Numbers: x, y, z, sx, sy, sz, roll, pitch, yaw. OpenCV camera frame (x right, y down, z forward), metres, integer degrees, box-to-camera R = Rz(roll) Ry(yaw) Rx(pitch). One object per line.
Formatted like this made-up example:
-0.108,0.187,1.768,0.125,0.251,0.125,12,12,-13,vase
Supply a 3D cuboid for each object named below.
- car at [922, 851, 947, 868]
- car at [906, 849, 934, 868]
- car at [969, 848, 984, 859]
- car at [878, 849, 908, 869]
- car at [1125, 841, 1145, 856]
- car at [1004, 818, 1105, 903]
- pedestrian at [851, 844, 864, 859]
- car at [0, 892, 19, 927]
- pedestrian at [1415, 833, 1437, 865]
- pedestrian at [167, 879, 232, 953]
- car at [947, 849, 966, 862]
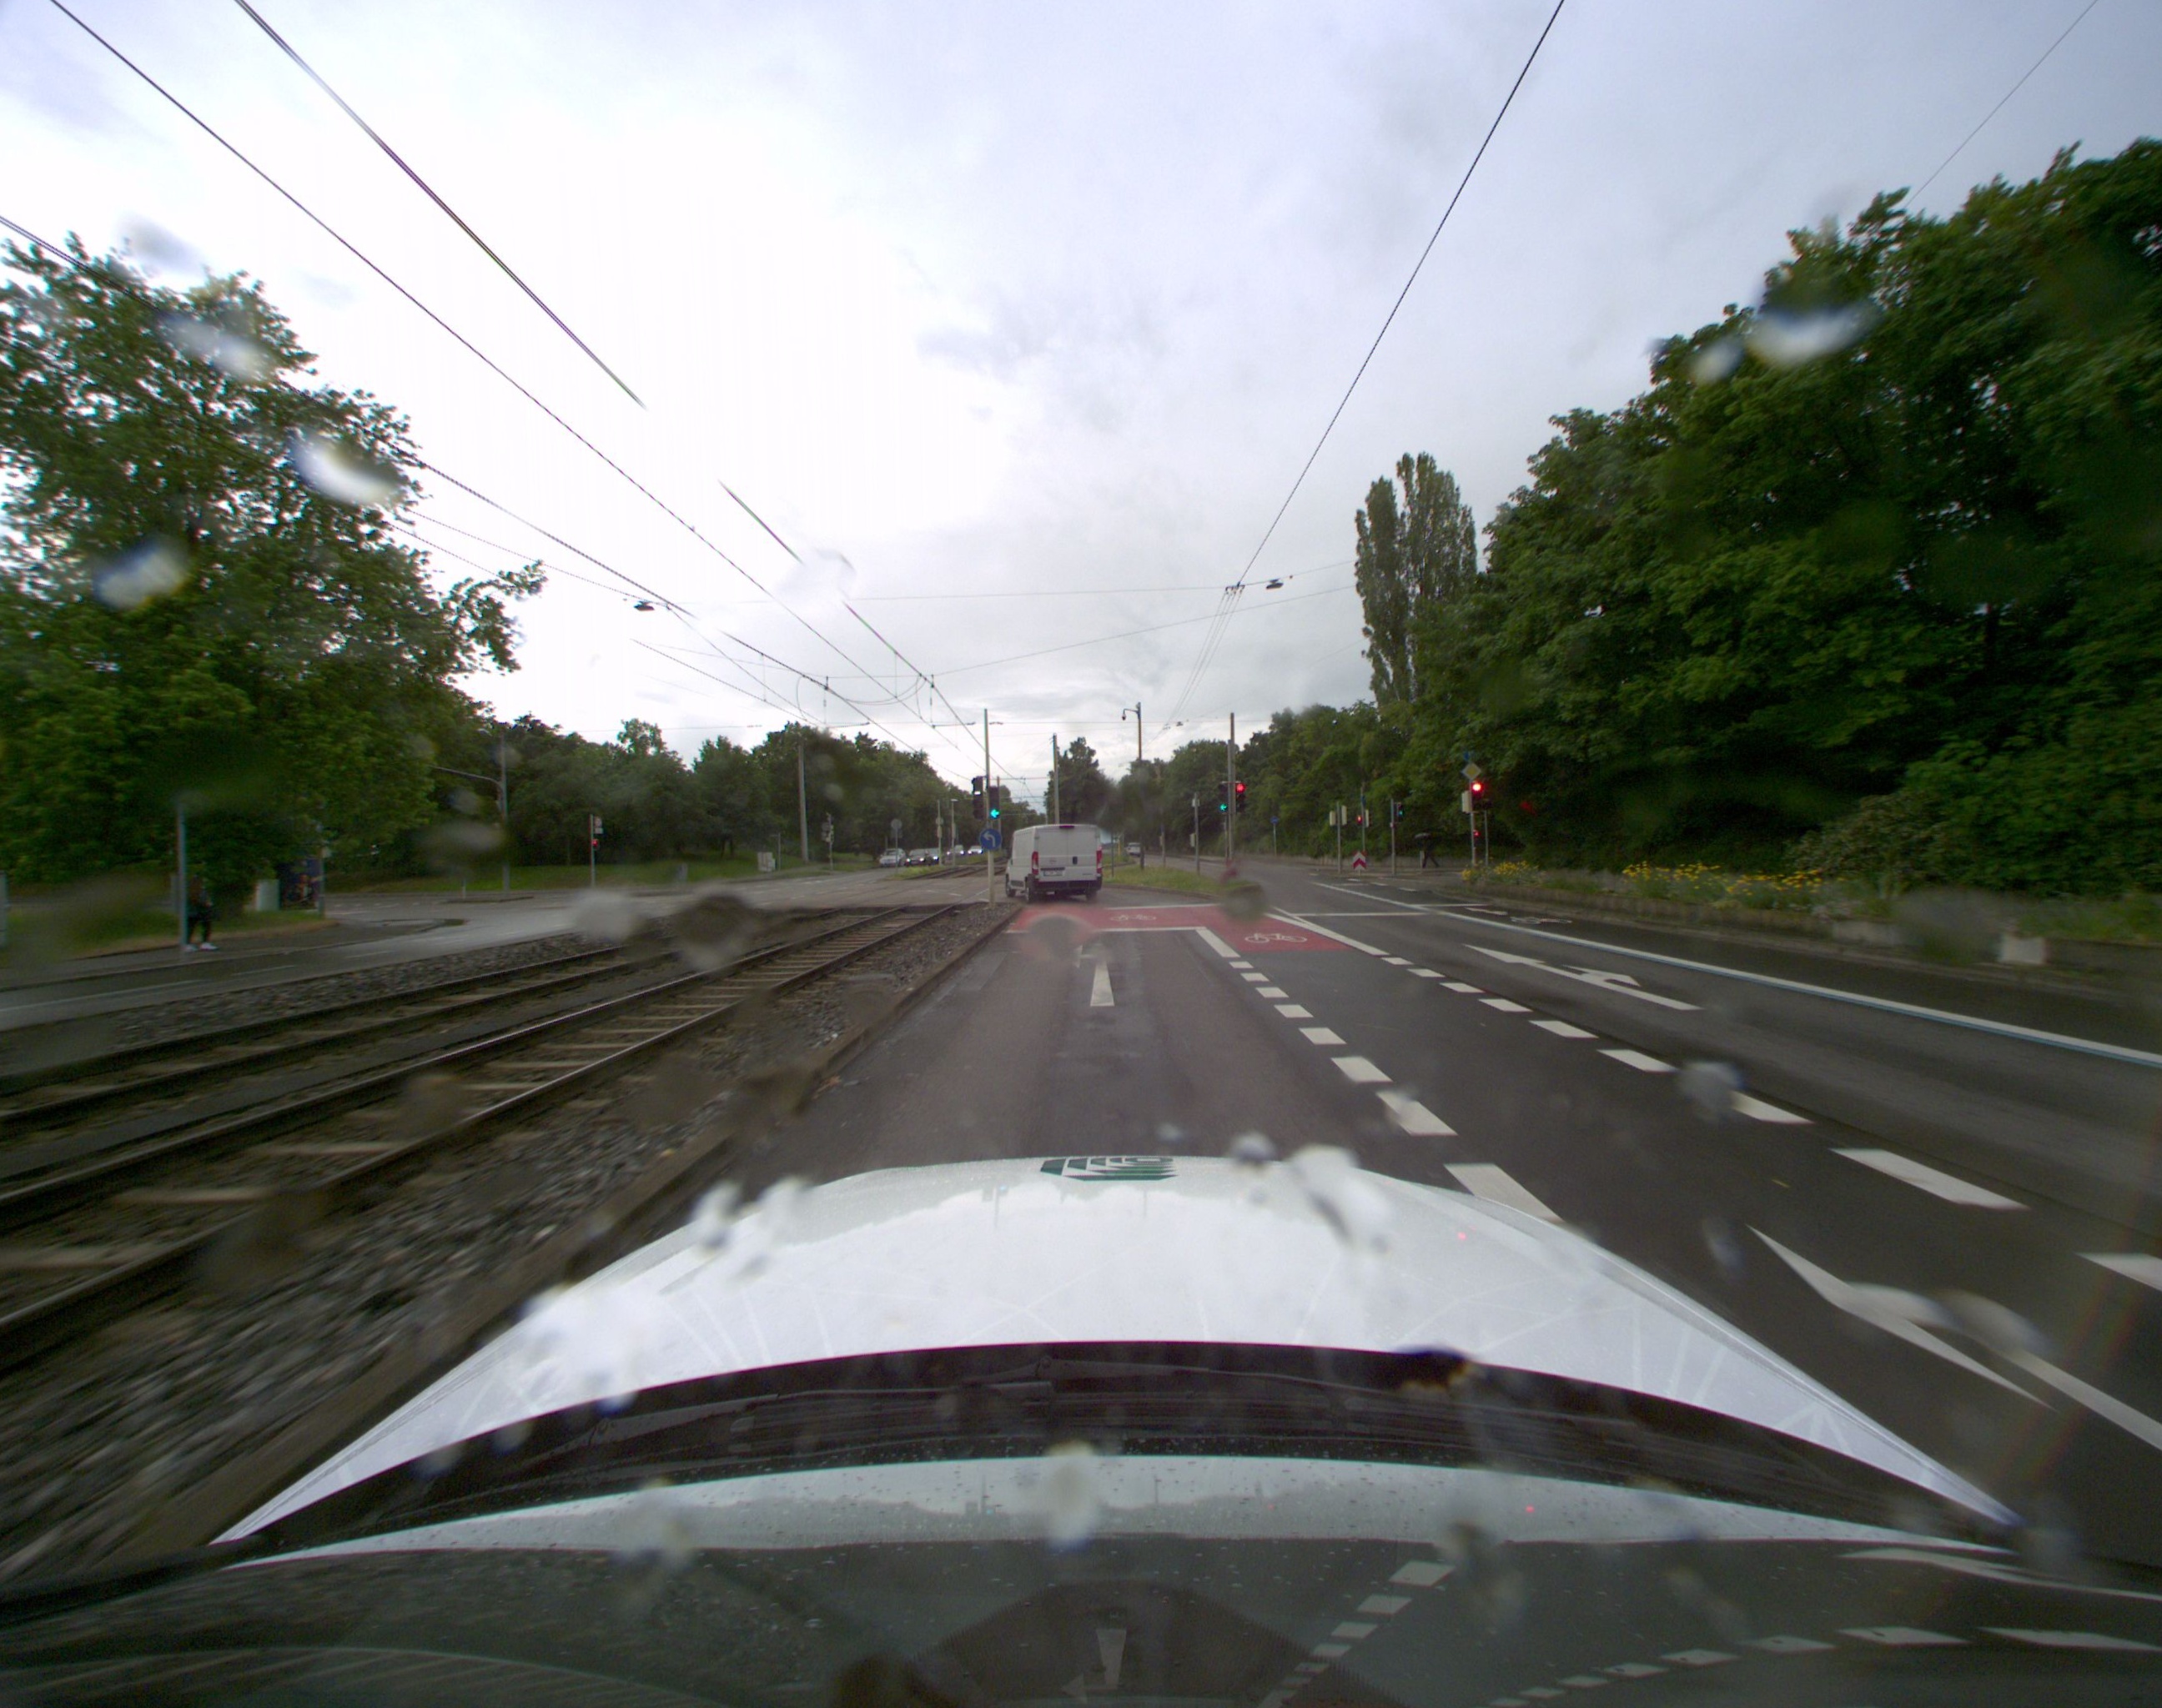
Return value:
-13.003,0.498,72.478,1.596,1.401,3.790,0,1,-1,car
-13.259,0.349,67.341,1.596,1.401,3.790,0,1,-1,car
-14.662,-0.064,114.342,1.596,1.401,3.790,0,1,-1,car
-16.626,0.393,72.062,1.714,1.553,3.861,-4,1,-1,car
5.390,-0.569,81.534,1.698,1.521,3.791,0,1,-1,car
-0.956,0.116,24.959,2.148,2.283,5.041,-2,2,-13,car
-23.146,-0.252,84.355,1.012,1.600,1.038,-1,0,-6,pedestrian
-47.614,2.483,34.077,4.394,1.437,1.593,-3,0,3,car
17.467,-0.241,41.218,0.804,1.607,0.683,0,-2,2,pedestrian
-18.562,1.288,17.166,0.589,1.532,0.668,0,-2,0,pedestrian
-14.117,0.161,92.276,1.596,1.401,3.790,0,1,-1,car
